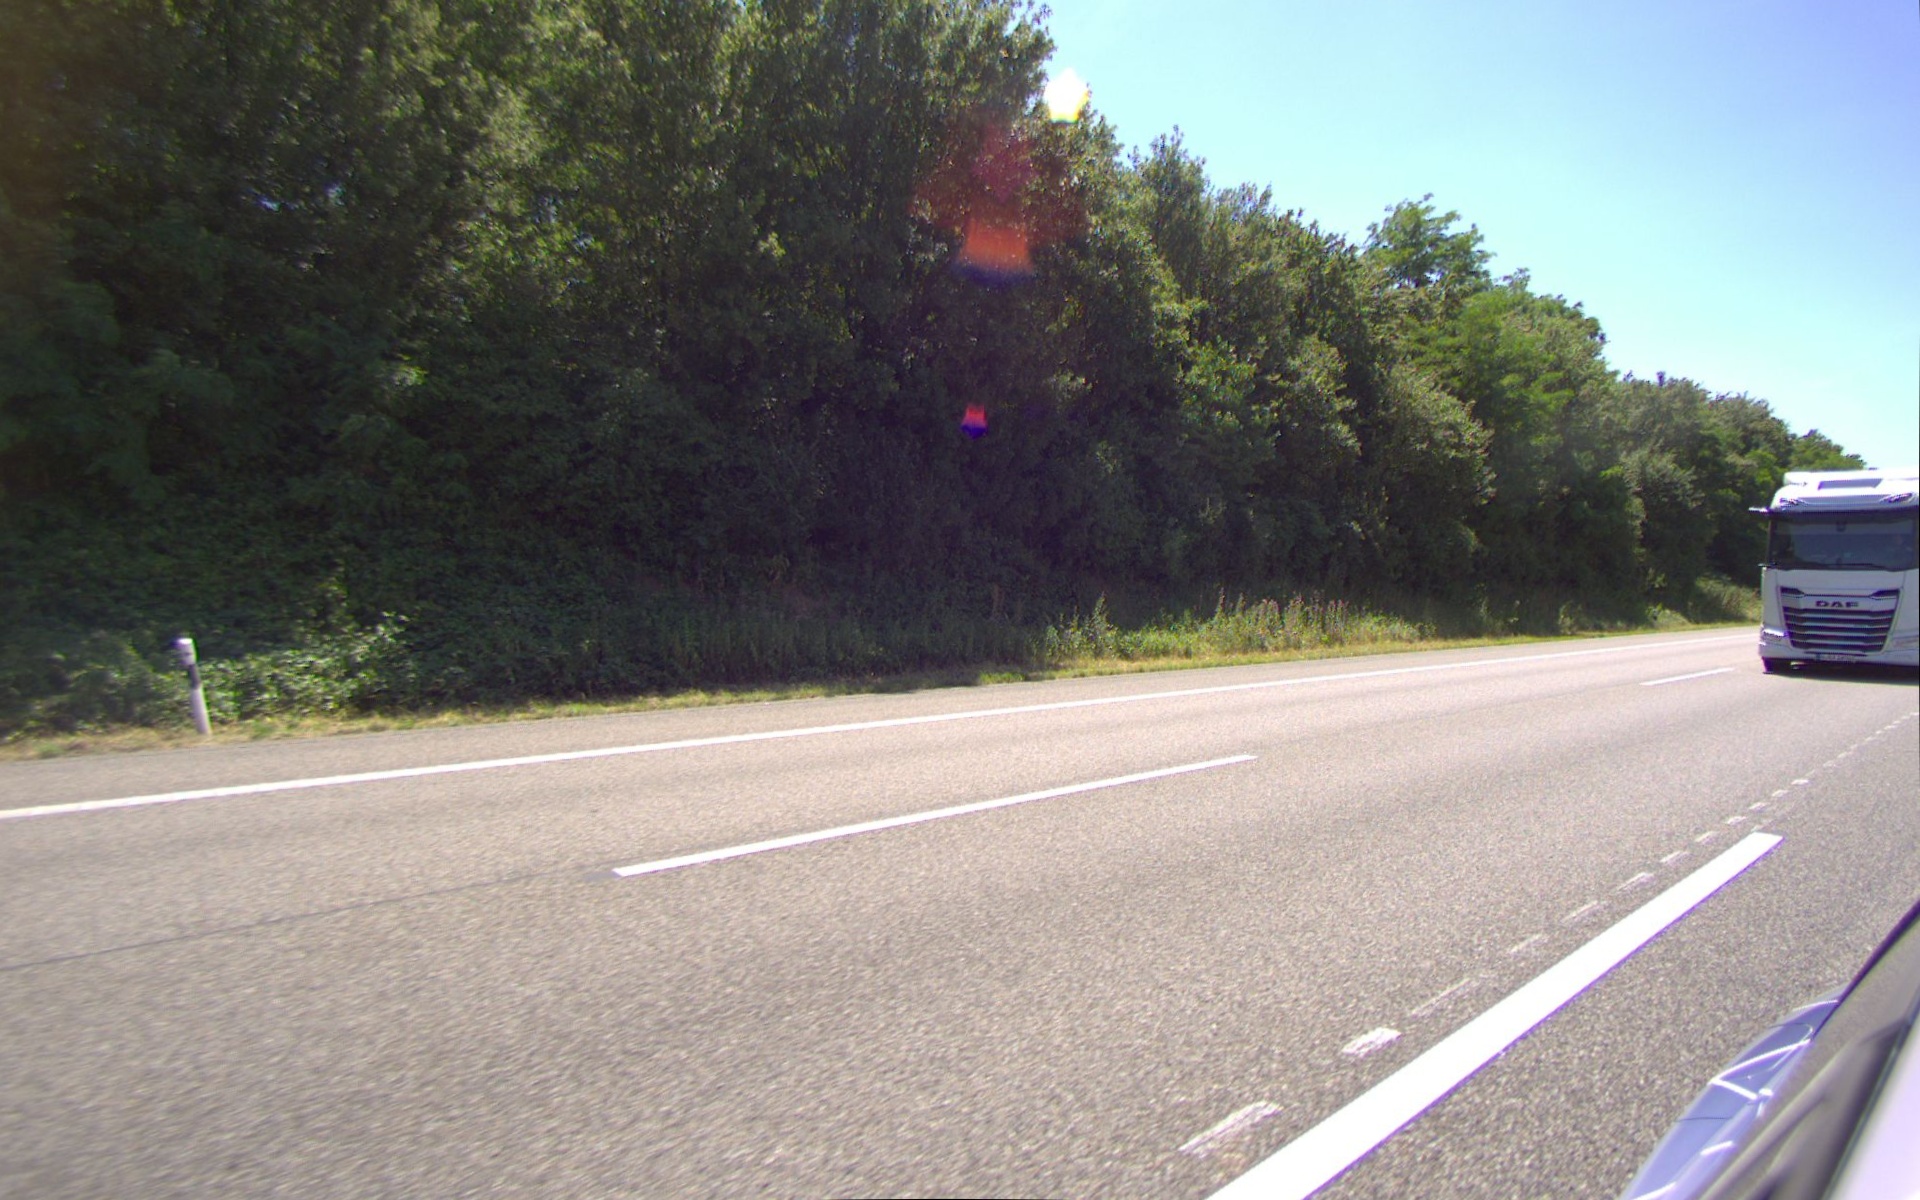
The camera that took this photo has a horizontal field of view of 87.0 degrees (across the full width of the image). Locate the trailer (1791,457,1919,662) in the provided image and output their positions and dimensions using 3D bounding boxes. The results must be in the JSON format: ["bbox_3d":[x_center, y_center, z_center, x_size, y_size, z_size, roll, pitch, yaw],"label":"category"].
[{"bbox_3d":[23.887,-0.848,25.412,13.597,4.121,2.681,0,0,-42],"label":"trailer"}]

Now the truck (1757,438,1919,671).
[{"bbox_3d":[18.531,-0.825,20.586,5.944,4.121,2.681,0,0,-42],"label":"truck"}]
